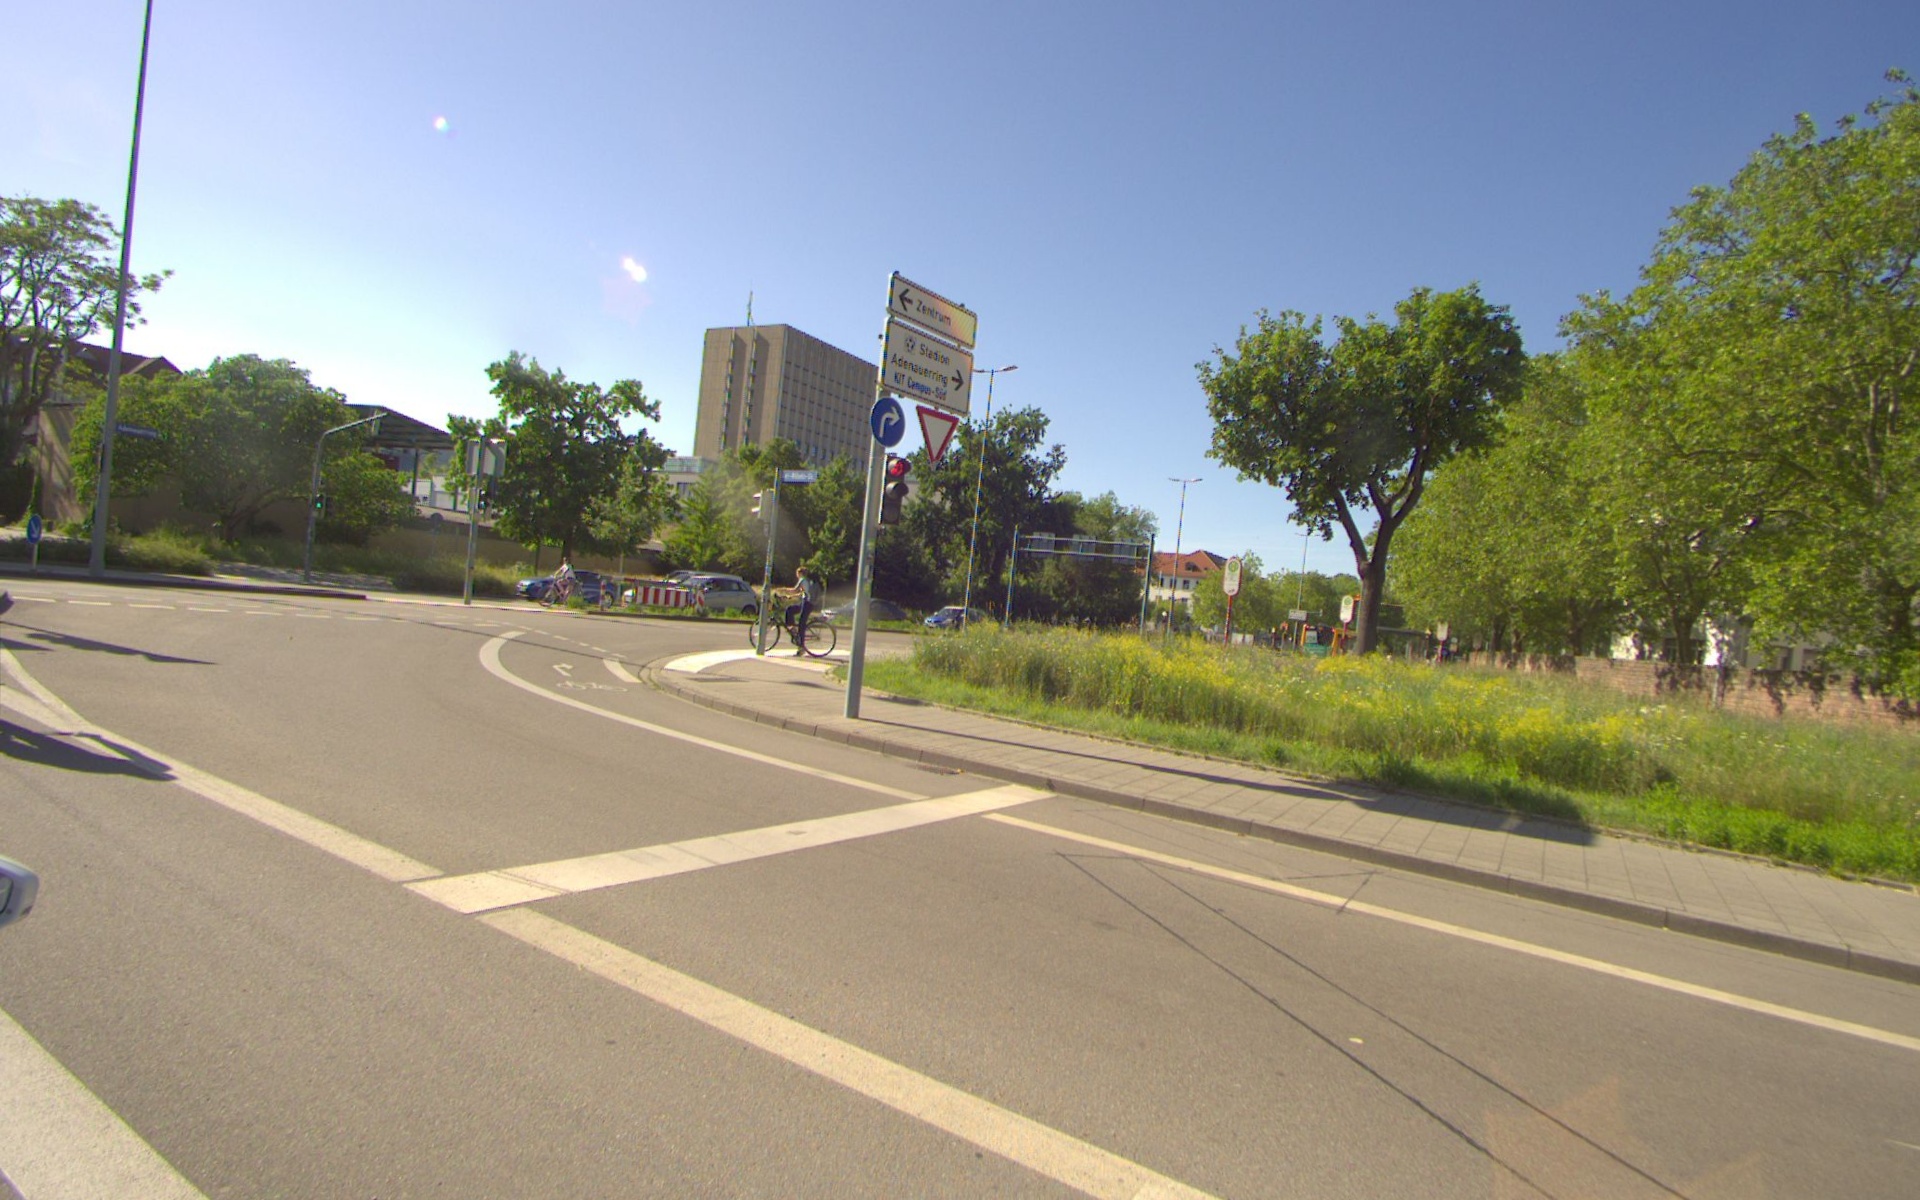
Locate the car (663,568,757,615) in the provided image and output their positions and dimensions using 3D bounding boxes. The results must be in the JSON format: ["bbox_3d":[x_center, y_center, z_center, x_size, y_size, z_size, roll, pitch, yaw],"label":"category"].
[{"bbox_3d":[-11.844,-0.367,47.790,1.767,1.771,3.986,7,0,37],"label":"car"}]

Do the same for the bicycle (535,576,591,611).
[{"bbox_3d":[-13.937,-0.228,35.353,0.602,1.046,1.681,7,0,37],"label":"bicycle"}]

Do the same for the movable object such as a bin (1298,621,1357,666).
[{"bbox_3d":[28.147,3.401,76.771,2.954,2.898,9.178,6,0,27],"label":"movable object such as a bin"}]

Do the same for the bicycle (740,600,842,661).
[{"bbox_3d":[-3.290,0.591,19.672,1.856,0.970,0.635,7,1,-10],"label":"bicycle"}]

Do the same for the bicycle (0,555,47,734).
[{"bbox_3d":[-6.965,0.204,6.737,1.890,1.102,0.690,6,-1,32],"label":"bicycle"}]

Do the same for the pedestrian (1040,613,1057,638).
[{"bbox_3d":[7.710,2.216,87.828,0.752,2.039,1.267,7,1,36],"label":"pedestrian"}]

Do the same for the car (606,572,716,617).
[{"bbox_3d":[-12.300,-0.200,41.565,1.767,1.415,3.986,7,0,37],"label":"car"}]

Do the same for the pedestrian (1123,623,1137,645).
[{"bbox_3d":[16.976,3.409,100.450,0.752,2.039,1.267,7,1,36],"label":"pedestrian"}]

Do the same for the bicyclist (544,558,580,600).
[{"bbox_3d":[-13.953,-0.725,35.253,0.602,1.360,0.874,7,1,37],"label":"bicyclist"}]

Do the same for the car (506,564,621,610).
[{"bbox_3d":[-16.211,-0.526,41.312,1.767,1.415,3.986,7,0,37],"label":"car"}]

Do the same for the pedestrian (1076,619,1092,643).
[{"bbox_3d":[11.470,2.865,93.042,0.752,2.039,1.267,7,1,36],"label":"pedestrian"}]

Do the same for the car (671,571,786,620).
[{"bbox_3d":[-8.740,-0.131,38.284,1.767,1.415,3.986,7,0,37],"label":"car"}]

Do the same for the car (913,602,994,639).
[{"bbox_3d":[-0.296,1.049,50.452,1.916,1.415,3.986,6,0,37],"label":"car"}]

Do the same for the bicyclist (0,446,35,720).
[{"bbox_3d":[-6.964,-0.175,6.756,1.123,1.813,0.684,7,0,32],"label":"bicyclist"}]

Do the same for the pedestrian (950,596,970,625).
[{"bbox_3d":[-0.032,0.821,77.794,0.752,2.039,1.267,7,1,36],"label":"pedestrian"}]

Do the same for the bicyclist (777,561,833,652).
[{"bbox_3d":[-3.037,0.124,19.700,0.898,1.667,0.630,6,1,-9],"label":"bicyclist"}]

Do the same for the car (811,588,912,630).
[{"bbox_3d":[-4.310,0.435,44.625,1.767,1.415,4.557,7,0,37],"label":"car"}]
